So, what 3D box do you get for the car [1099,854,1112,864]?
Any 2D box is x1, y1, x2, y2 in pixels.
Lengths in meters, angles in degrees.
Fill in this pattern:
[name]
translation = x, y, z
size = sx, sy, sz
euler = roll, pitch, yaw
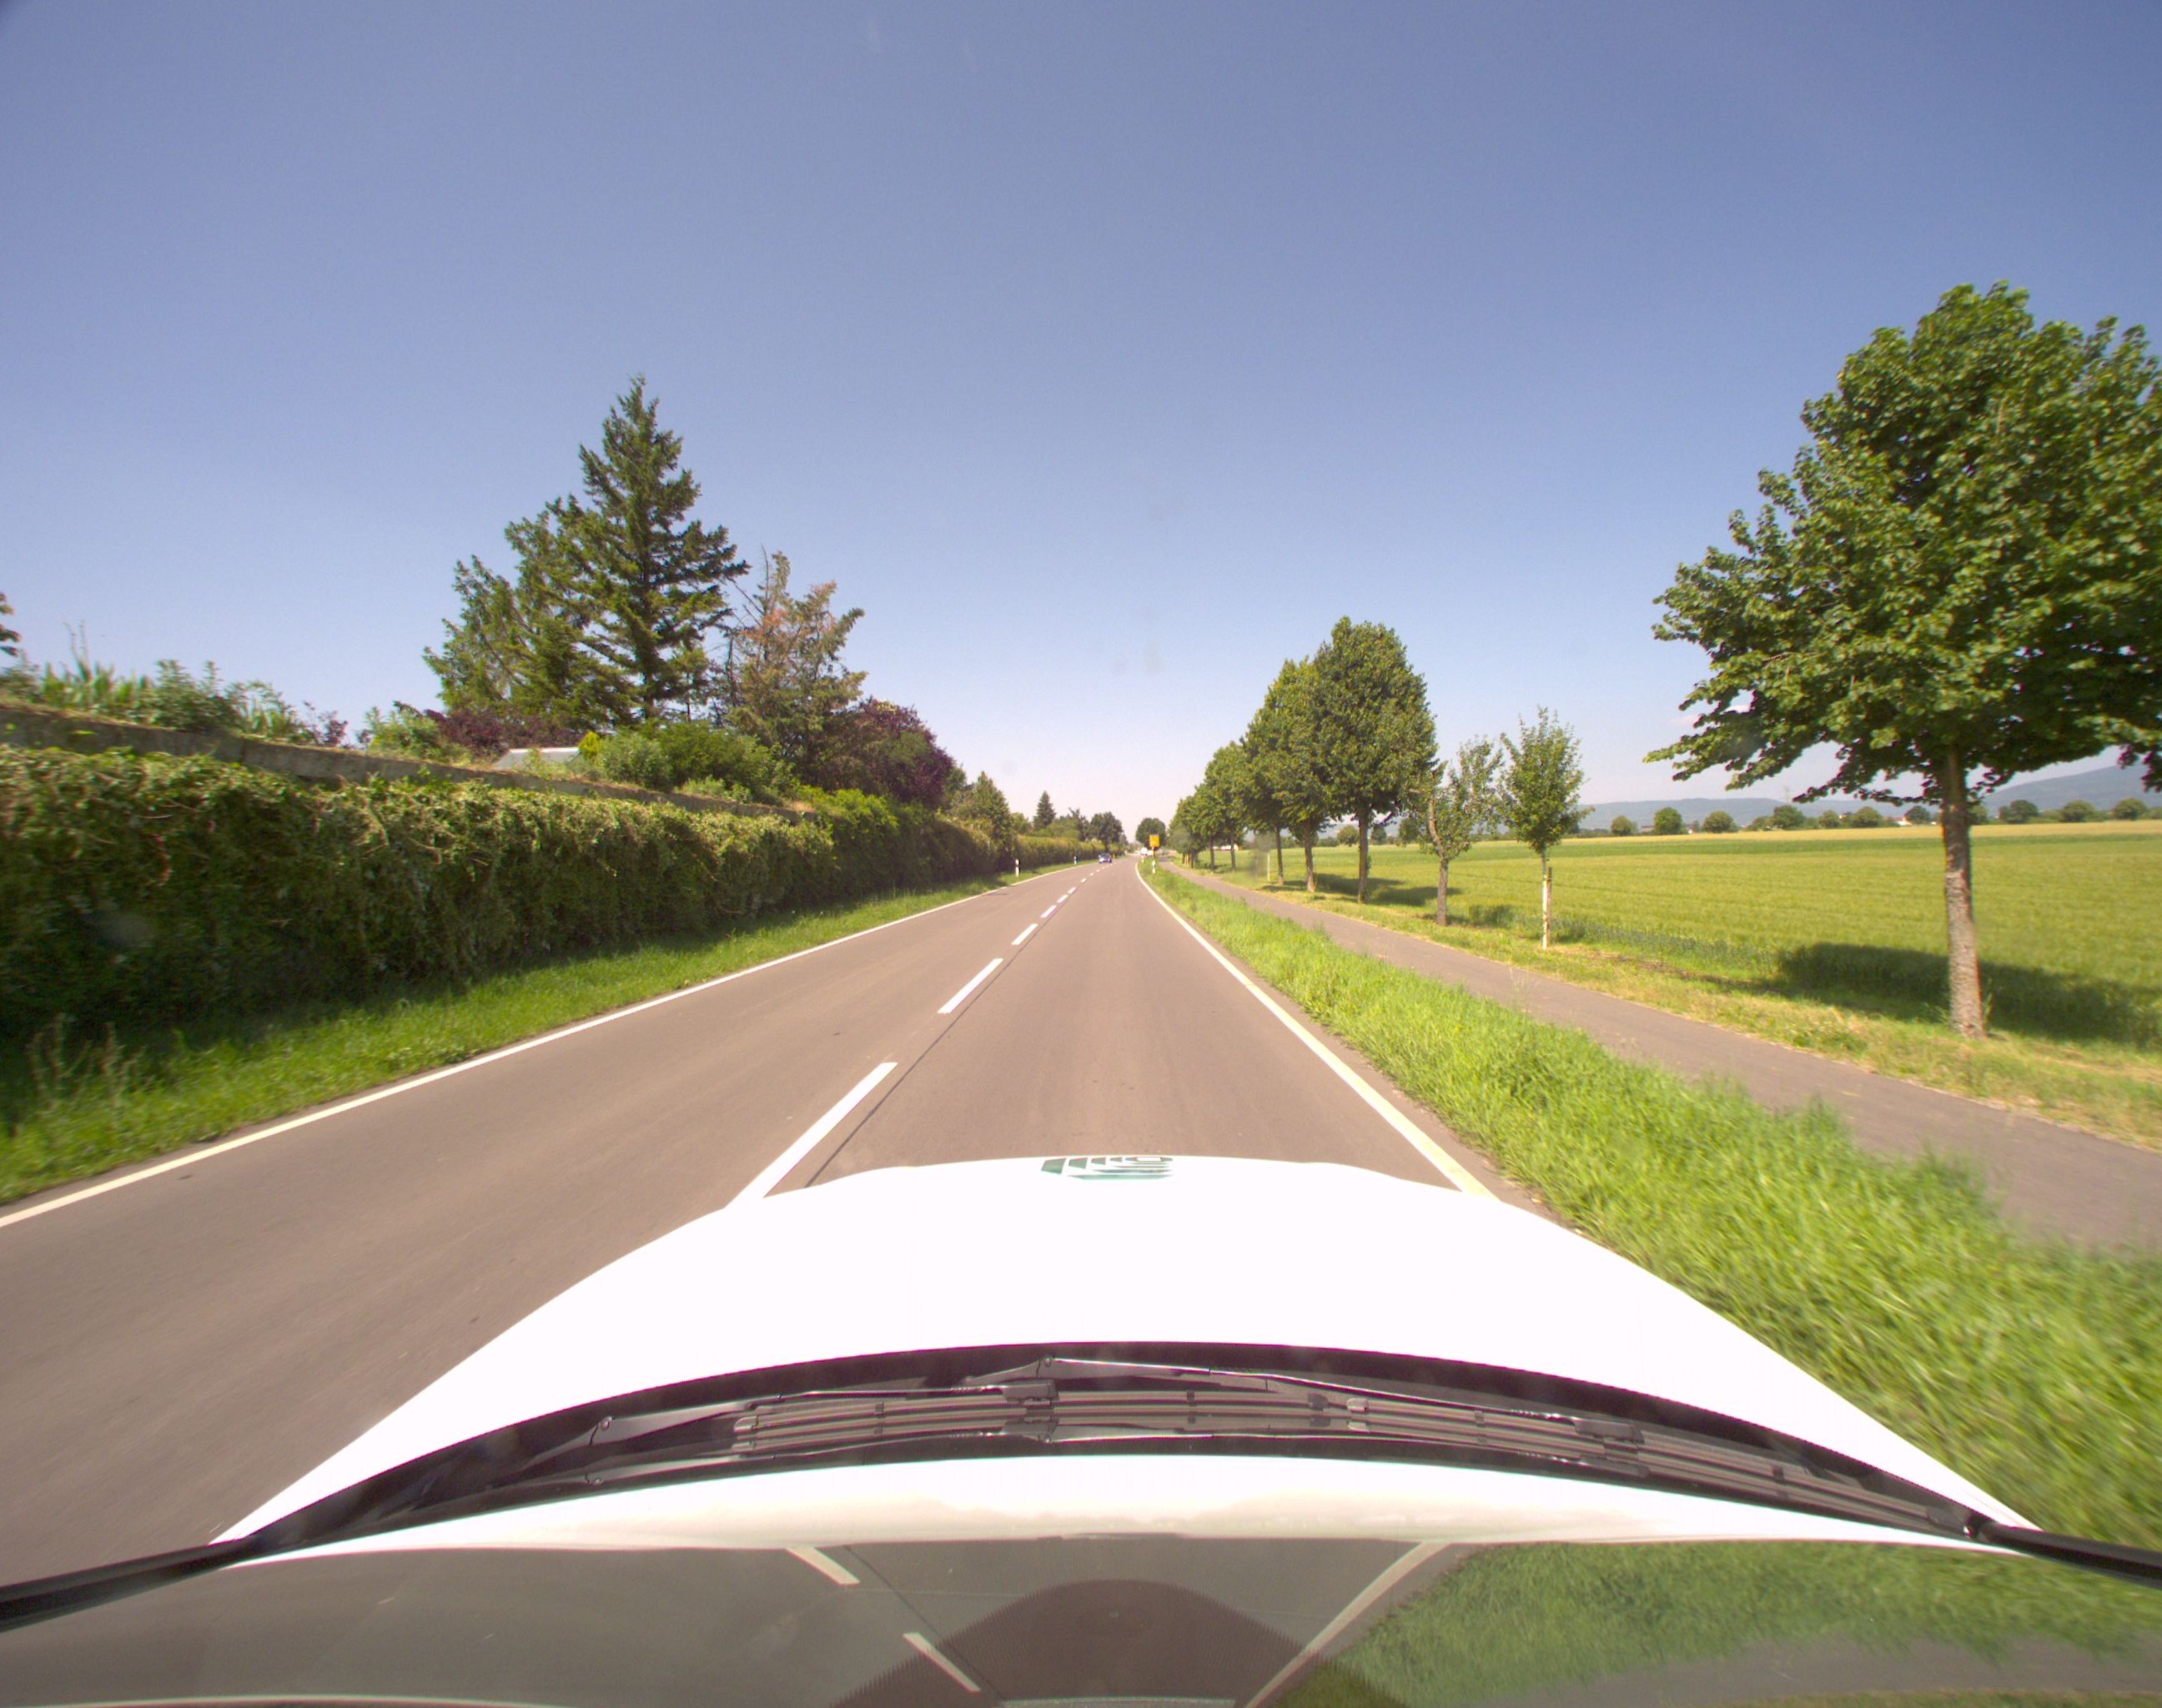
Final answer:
[car]
translation = 3.740, 0.698, 123.113
size = 1.833, 1.467, 3.934
euler = -2, 0, 2
